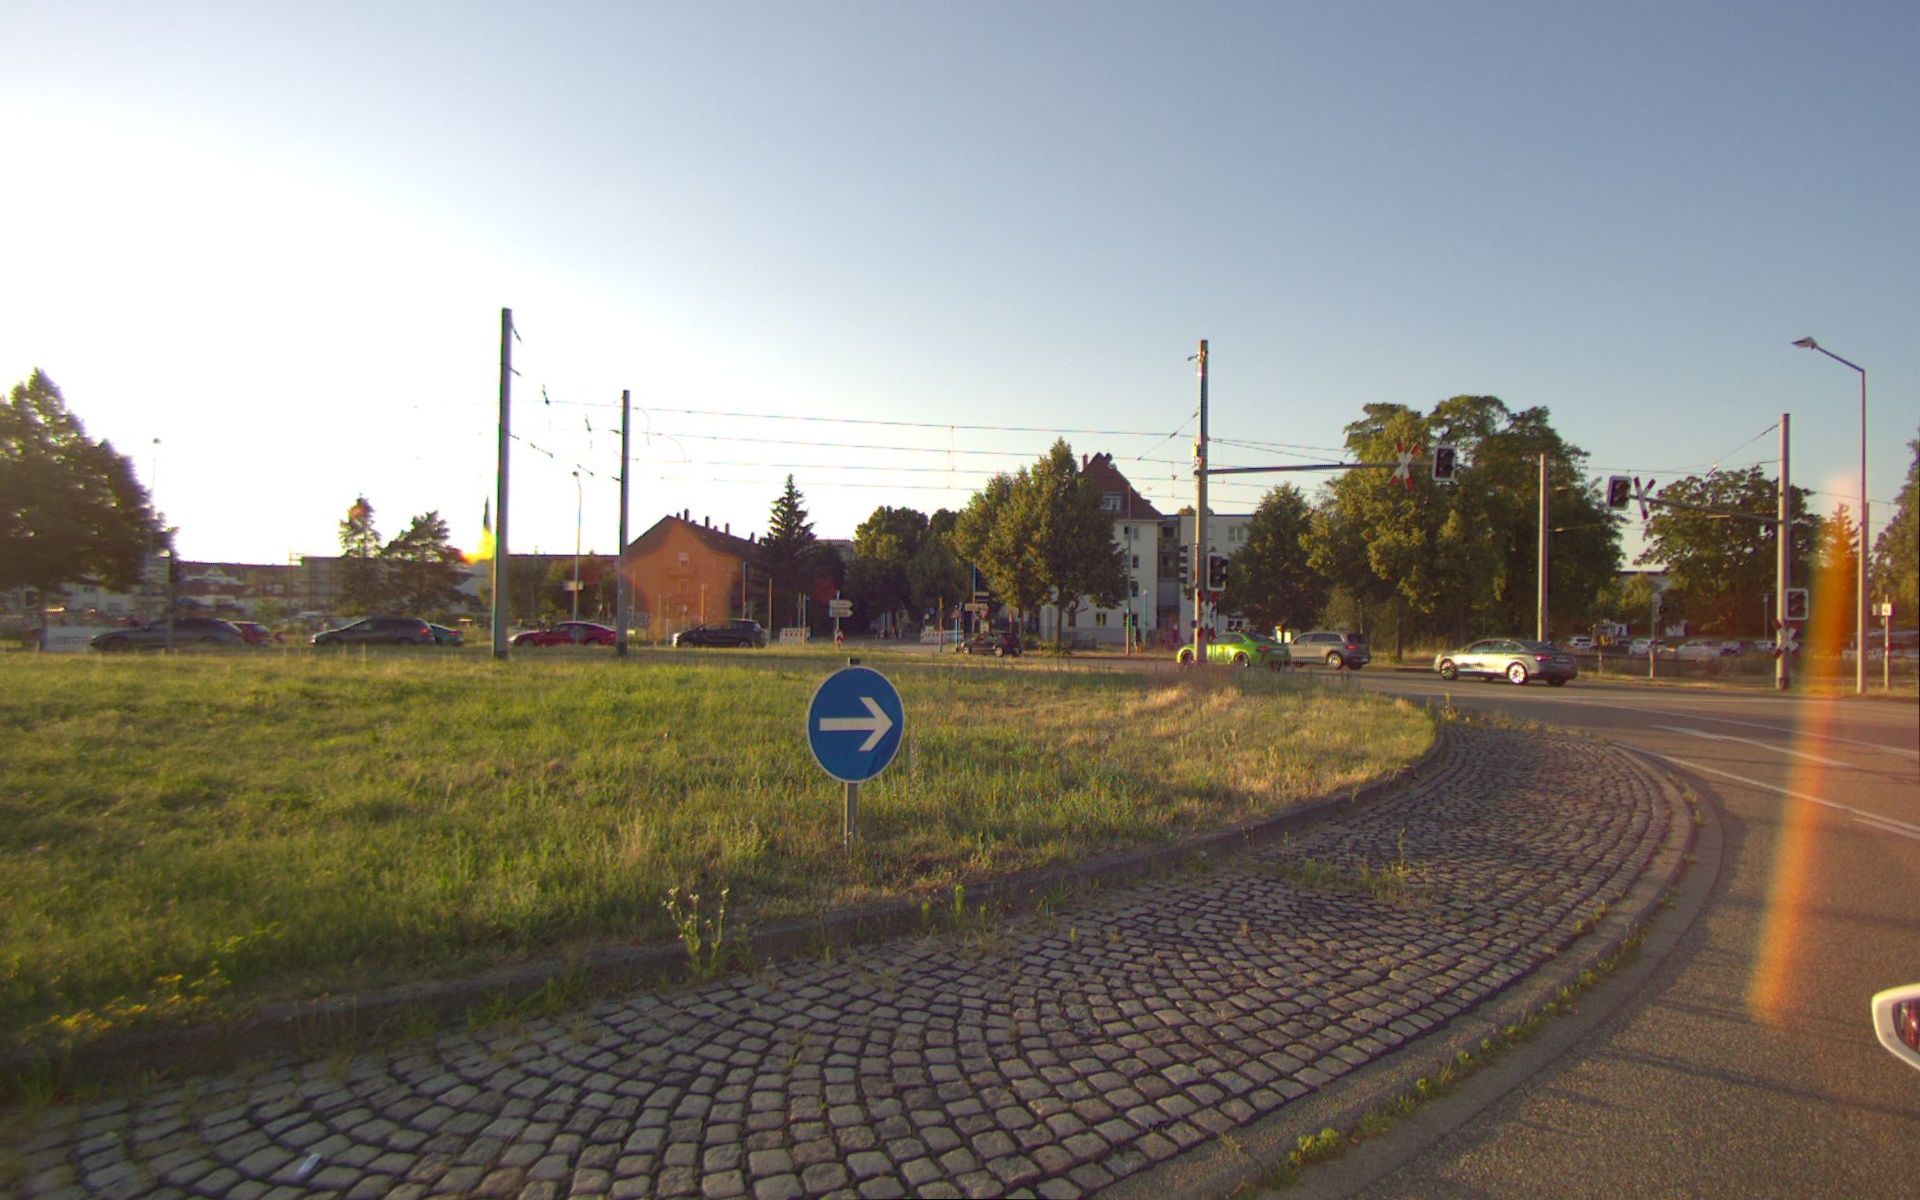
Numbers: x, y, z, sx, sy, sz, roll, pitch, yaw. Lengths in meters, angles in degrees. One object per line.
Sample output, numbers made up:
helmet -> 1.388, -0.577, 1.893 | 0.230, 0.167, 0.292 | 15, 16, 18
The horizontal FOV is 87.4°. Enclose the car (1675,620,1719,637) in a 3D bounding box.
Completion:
car -> 93.202, 3.587, 127.029 | 4.033, 2.040, 2.001 | 1, -1, 4

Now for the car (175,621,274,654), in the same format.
car -> -35.224, 1.812, 48.177 | 3.437, 1.519, 1.636 | 1, -1, -19

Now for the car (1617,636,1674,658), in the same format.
car -> 54.752, 3.699, 80.336 | 1.960, 1.625, 4.002 | 1, -1, 3

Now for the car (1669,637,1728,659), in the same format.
car -> 59.512, 3.847, 81.037 | 1.960, 1.625, 4.002 | 1, -1, 3

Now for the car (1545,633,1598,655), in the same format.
car -> 49.410, 3.542, 81.228 | 1.960, 1.625, 4.002 | 1, -1, 3

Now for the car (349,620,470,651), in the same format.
car -> -25.972, 1.691, 47.569 | 4.657, 1.389, 1.994 | 1, -1, -16

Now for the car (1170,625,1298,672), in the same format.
car -> 10.104, 1.759, 37.344 | 1.979, 1.600, 4.444 | 1, -1, -34

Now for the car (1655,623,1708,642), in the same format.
car -> 80.226, 3.643, 111.738 | 4.507, 2.040, 2.000 | 1, -1, 0

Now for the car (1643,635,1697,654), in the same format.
car -> 69.207, 4.327, 97.930 | 3.919, 1.684, 1.904 | 1, -1, 5

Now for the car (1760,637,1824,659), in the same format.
car -> 66.364, 3.786, 80.169 | 1.960, 1.625, 4.002 | 1, -1, 3

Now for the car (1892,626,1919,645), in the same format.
car -> 107.449, 4.025, 112.594 | 3.919, 2.040, 2.001 | 1, -1, 11

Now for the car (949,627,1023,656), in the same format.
car -> 1.428, 2.334, 56.538 | 3.943, 1.372, 1.685 | -5, 0, 41

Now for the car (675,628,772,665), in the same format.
car -> -10.720, 2.104, 45.733 | 3.921, 1.605, 1.896 | 1, -1, 1

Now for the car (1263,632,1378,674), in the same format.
car -> 15.878, 2.300, 44.435 | 1.982, 1.659, 4.477 | 1, -1, -38

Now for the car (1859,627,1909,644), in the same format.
car -> 108.029, 4.125, 117.446 | 3.919, 1.840, 2.001 | 1, -1, 5

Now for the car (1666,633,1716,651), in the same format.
car -> 73.158, 4.185, 100.574 | 3.934, 1.684, 1.994 | 0, -1, 35

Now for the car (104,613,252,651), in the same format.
car -> -30.669, 1.255, 39.569 | 4.299, 1.394, 1.985 | 1, -1, -29

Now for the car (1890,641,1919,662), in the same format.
car -> 76.348, 4.085, 79.473 | 1.960, 1.625, 4.002 | 1, -1, 3

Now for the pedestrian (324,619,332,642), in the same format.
pedestrian -> -37.724, 1.818, 59.952 | 0.392, 1.325, 0.426 | 1, -1, -30

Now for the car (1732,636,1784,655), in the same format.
car -> 77.343, 4.416, 97.413 | 3.938, 1.684, 1.894 | 0, -1, 39

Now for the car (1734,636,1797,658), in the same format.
car -> 64.011, 3.714, 79.930 | 1.960, 1.625, 4.002 | 1, -1, 3

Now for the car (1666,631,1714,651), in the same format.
car -> 75.828, 4.229, 104.368 | 3.934, 2.040, 1.994 | 0, -1, 35

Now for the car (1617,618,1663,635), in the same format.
car -> 86.251, 3.380, 127.438 | 4.505, 2.040, 2.001 | 1, -1, 5

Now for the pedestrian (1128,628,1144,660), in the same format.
pedestrian -> 10.978, 2.732, 62.650 | 0.614, 1.918, 0.662 | 2, 0, -35

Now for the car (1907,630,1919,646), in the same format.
car -> 105.581, 4.108, 108.717 | 1.971, 1.728, 3.979 | 1, -1, -22

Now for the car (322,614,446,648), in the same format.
car -> -24.306, 1.314, 42.570 | 4.323, 1.394, 1.989 | 1, -1, -24

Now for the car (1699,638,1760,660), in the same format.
car -> 61.631, 3.909, 80.559 | 1.960, 1.625, 4.002 | 1, -1, 3

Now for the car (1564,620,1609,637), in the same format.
car -> 79.577, 3.649, 127.622 | 4.507, 2.040, 2.000 | 1, -1, 0

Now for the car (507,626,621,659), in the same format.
car -> -17.614, 1.895, 44.908 | 4.416, 1.410, 1.892 | 1, -1, -10

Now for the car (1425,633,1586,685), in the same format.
car -> 17.748, 1.886, 32.980 | 1.857, 1.483, 4.652 | 1, -1, -18
